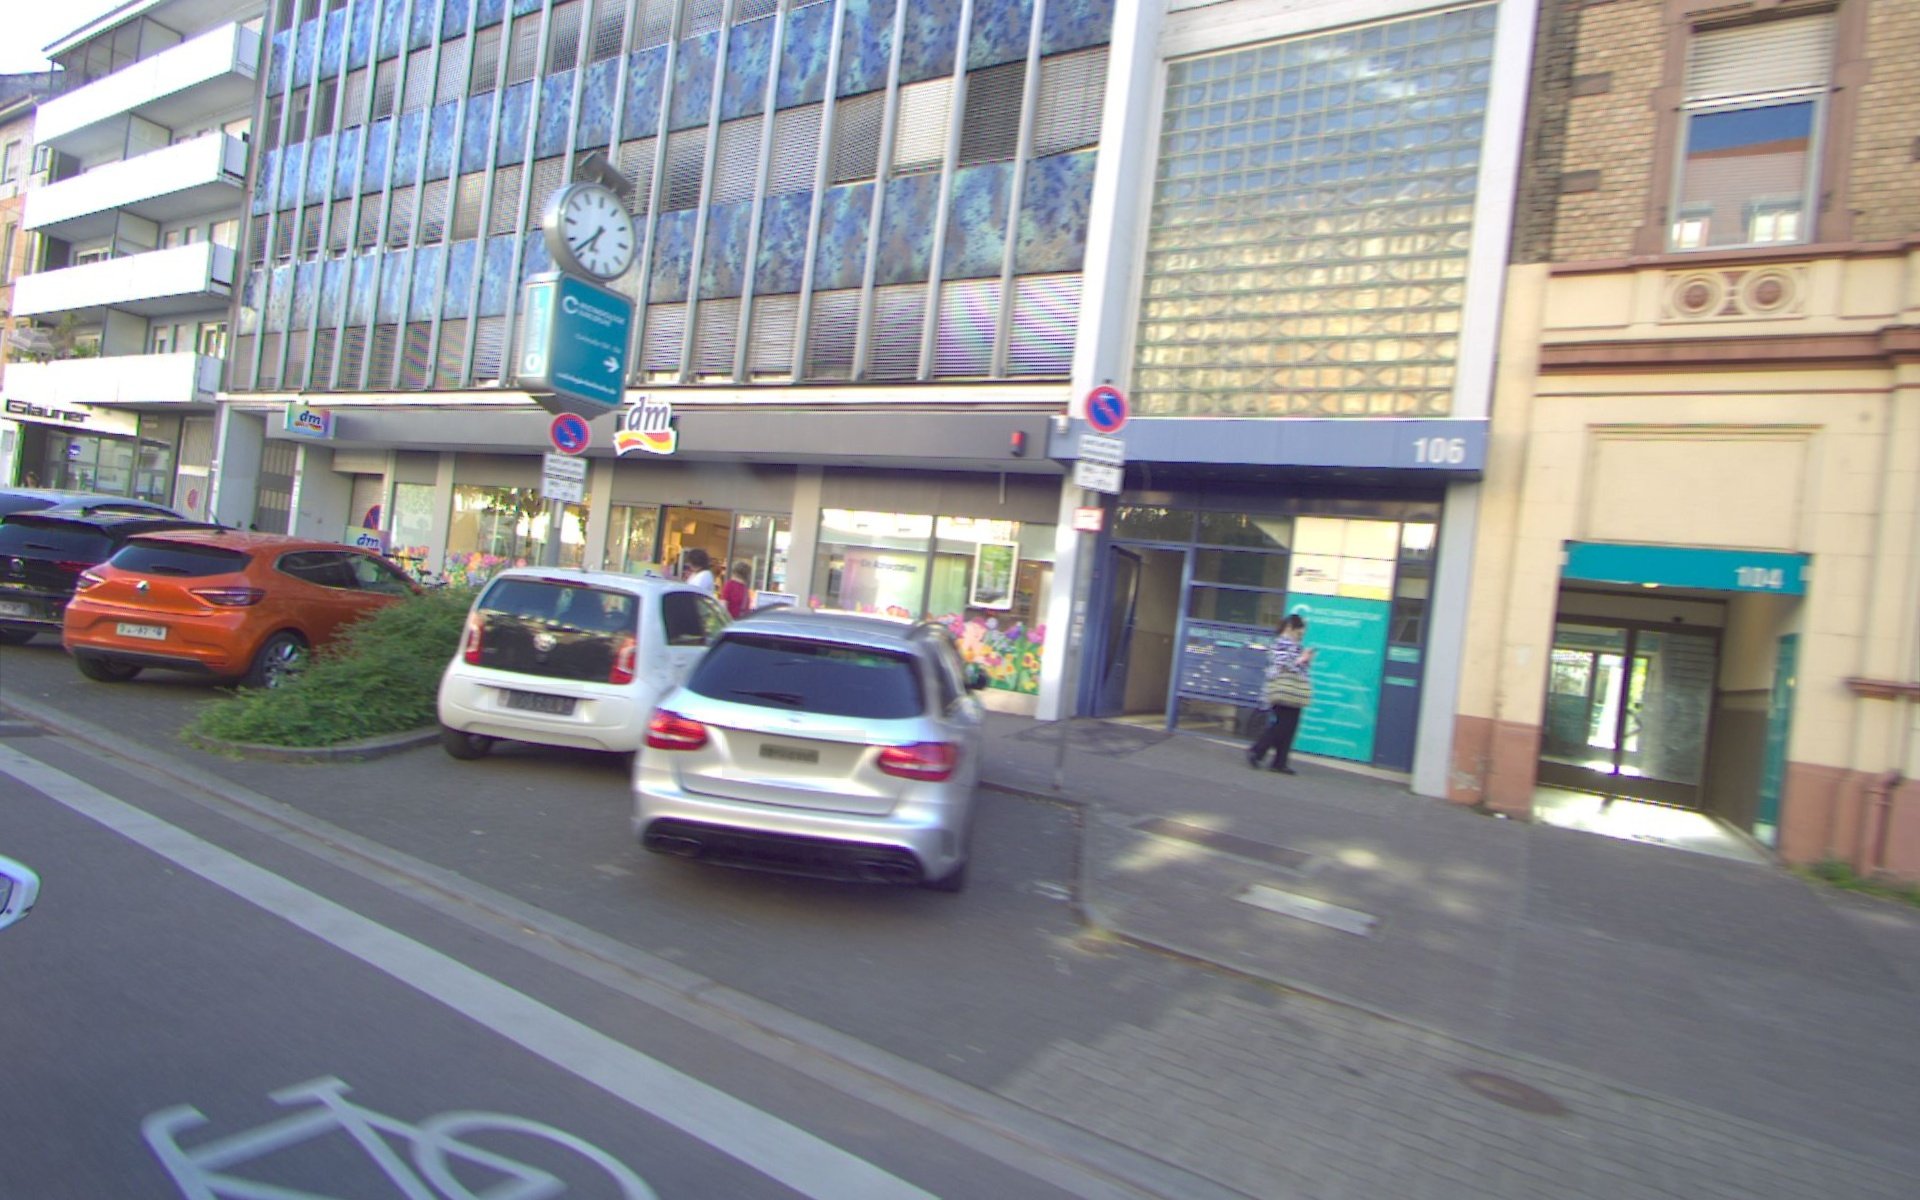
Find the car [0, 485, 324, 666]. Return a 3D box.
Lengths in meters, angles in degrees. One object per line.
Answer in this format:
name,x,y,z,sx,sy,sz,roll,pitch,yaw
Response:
car,-9.031,-0.225,11.000,1.790,1.573,3.455,7,-2,0

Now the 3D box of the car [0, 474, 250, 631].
car,-11.387,-0.580,12.744,2.010,1.671,3.732,7,-2,-1

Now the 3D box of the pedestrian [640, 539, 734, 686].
pedestrian,-3.512,0.168,12.957,0.667,1.776,0.694,7,-1,31

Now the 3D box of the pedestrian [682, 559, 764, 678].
pedestrian,-3.391,0.273,14.434,0.667,1.606,0.694,7,-1,31

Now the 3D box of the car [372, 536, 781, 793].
car,-2.923,0.510,8.671,1.804,1.504,3.790,7,-2,2

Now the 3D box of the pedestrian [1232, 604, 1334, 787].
pedestrian,3.497,1.021,10.868,0.715,1.827,0.720,7,-1,31

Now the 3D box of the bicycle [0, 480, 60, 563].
bicycle,-25.002,-2.113,26.954,2.323,2.037,0.728,6,-1,37

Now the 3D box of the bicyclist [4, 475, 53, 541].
bicyclist,-24.934,-2.458,26.929,0.520,1.642,0.732,6,-1,37

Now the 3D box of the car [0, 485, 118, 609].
car,-13.950,-0.831,13.950,1.655,1.659,3.452,7,-2,-5

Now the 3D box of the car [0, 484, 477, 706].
car,-6.685,0.025,9.936,1.932,1.538,3.732,7,-2,-1

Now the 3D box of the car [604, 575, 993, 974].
car,-0.627,0.840,6.565,1.507,1.525,4.458,7,-2,2
